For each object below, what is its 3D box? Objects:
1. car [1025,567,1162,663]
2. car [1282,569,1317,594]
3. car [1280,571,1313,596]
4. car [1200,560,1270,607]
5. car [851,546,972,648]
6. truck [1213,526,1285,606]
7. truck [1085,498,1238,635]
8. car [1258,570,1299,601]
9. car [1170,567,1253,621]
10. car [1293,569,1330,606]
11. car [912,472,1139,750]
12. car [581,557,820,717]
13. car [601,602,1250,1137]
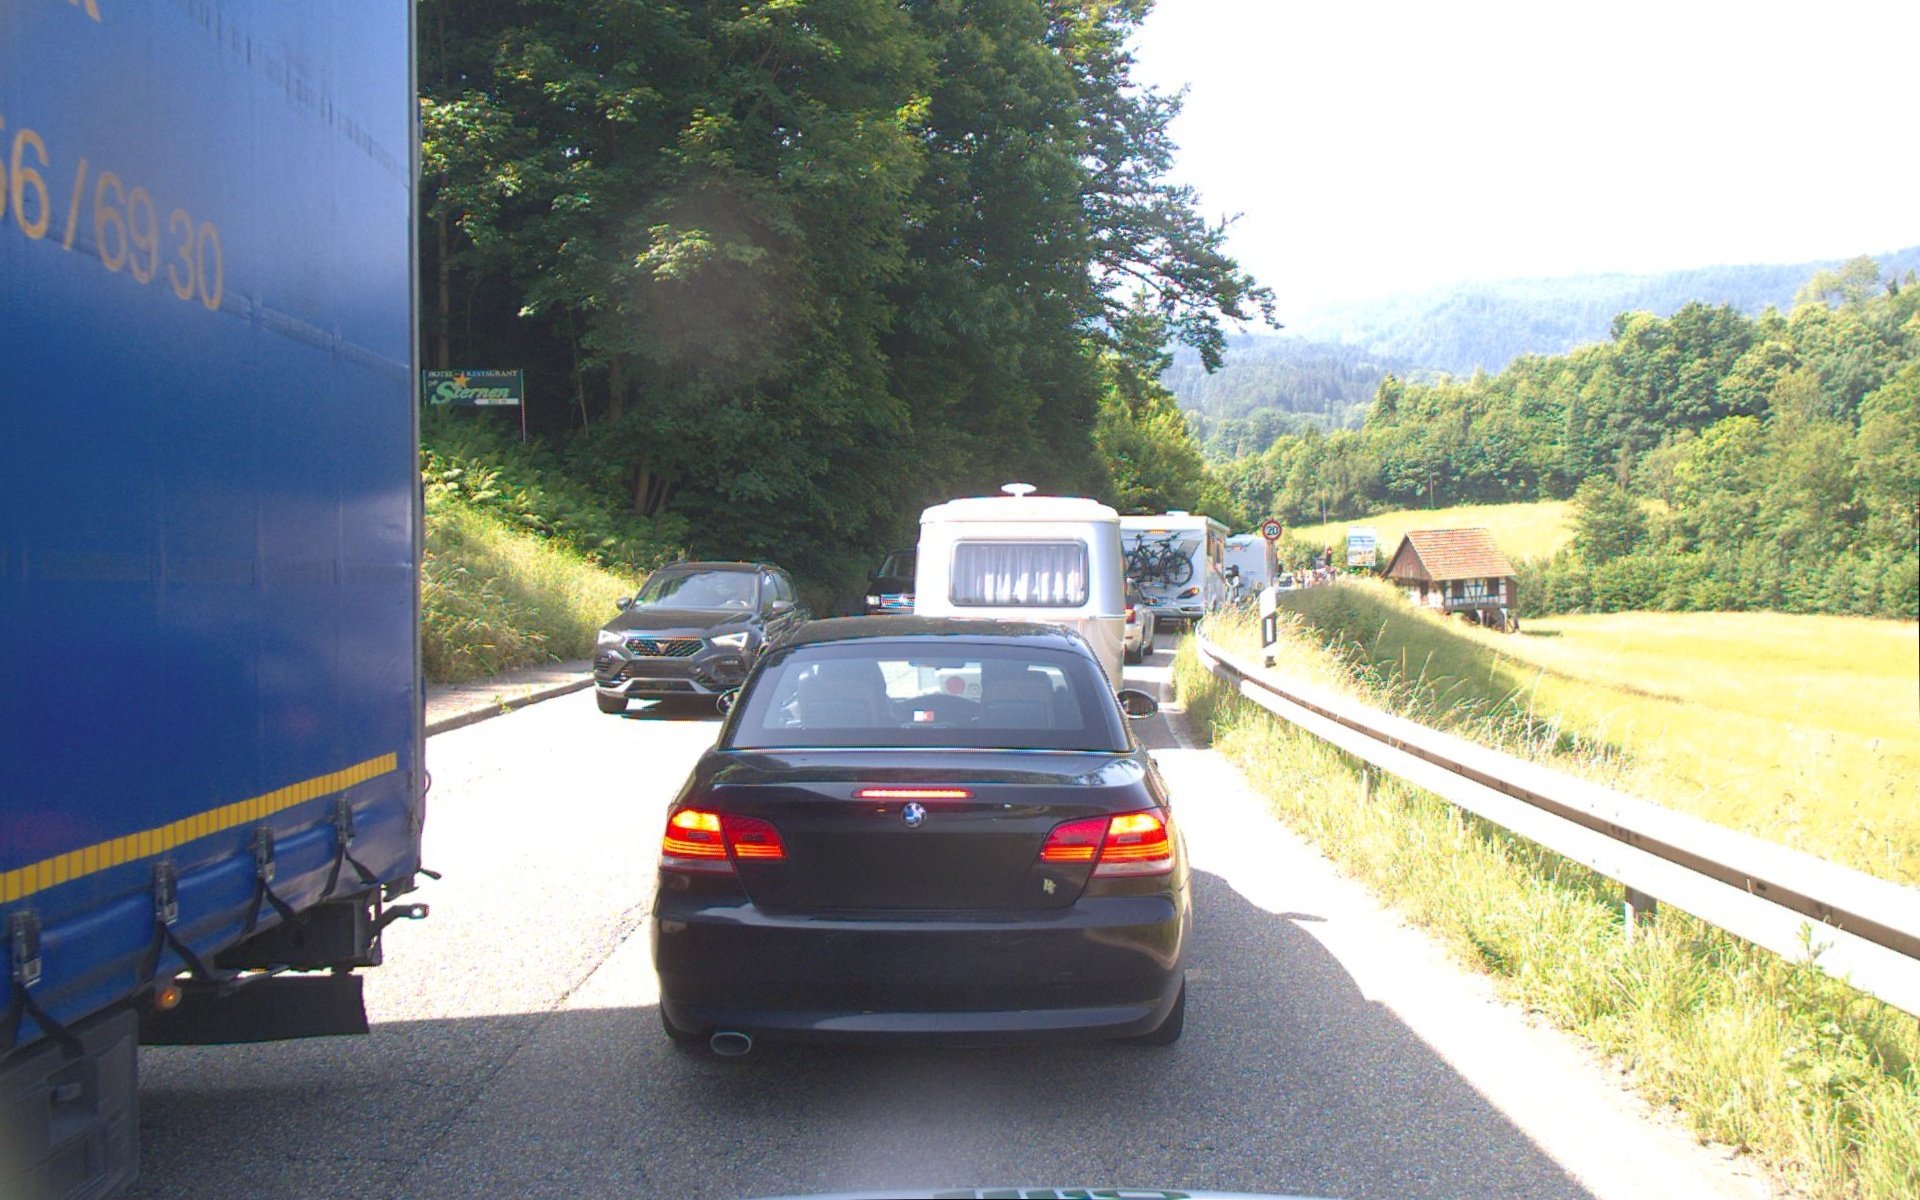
[{"bbox_3d":[2.427,0.211,29.118,1.951,1.510,4.004,2,1,11],"label":"car"},{"bbox_3d":[23.066,-1.246,112.197,1.951,1.603,4.002,1,0,17],"label":"car"},{"bbox_3d":[24.834,-1.234,121.928,1.952,1.713,4.002,1,0,18],"label":"car"},{"bbox_3d":[9.451,-0.592,56.618,1.750,1.489,4.002,3,2,18],"label":"car"},{"bbox_3d":[-0.910,-0.101,33.457,1.878,1.858,4.494,2,1,5],"label":"car"},{"bbox_3d":[11.053,-1.231,62.968,2.190,2.853,6.237,1,0,14],"label":"truck"},{"bbox_3d":[5.178,-0.866,41.379,2.732,3.049,6.873,2,2,15],"label":"truck"},{"bbox_3d":[16.467,-0.717,85.384,1.866,1.512,4.003,1,0,14],"label":"car"},{"bbox_3d":[7.775,-0.224,50.916,1.952,1.489,4.003,3,2,16],"label":"car"},{"bbox_3d":[20.161,-0.690,94.786,1.951,1.959,4.003,4,0,12],"label":"car"},{"bbox_3d":[0.746,0.039,16.785,1.951,2.394,4.917,0,1,4],"label":"car"},{"bbox_3d":[-2.827,0.333,18.937,1.783,1.612,4.085,1,1,4],"label":"car"},{"bbox_3d":[-0.029,0.723,6.323,1.734,1.359,3.768,0,1,2],"label":"car"}]
